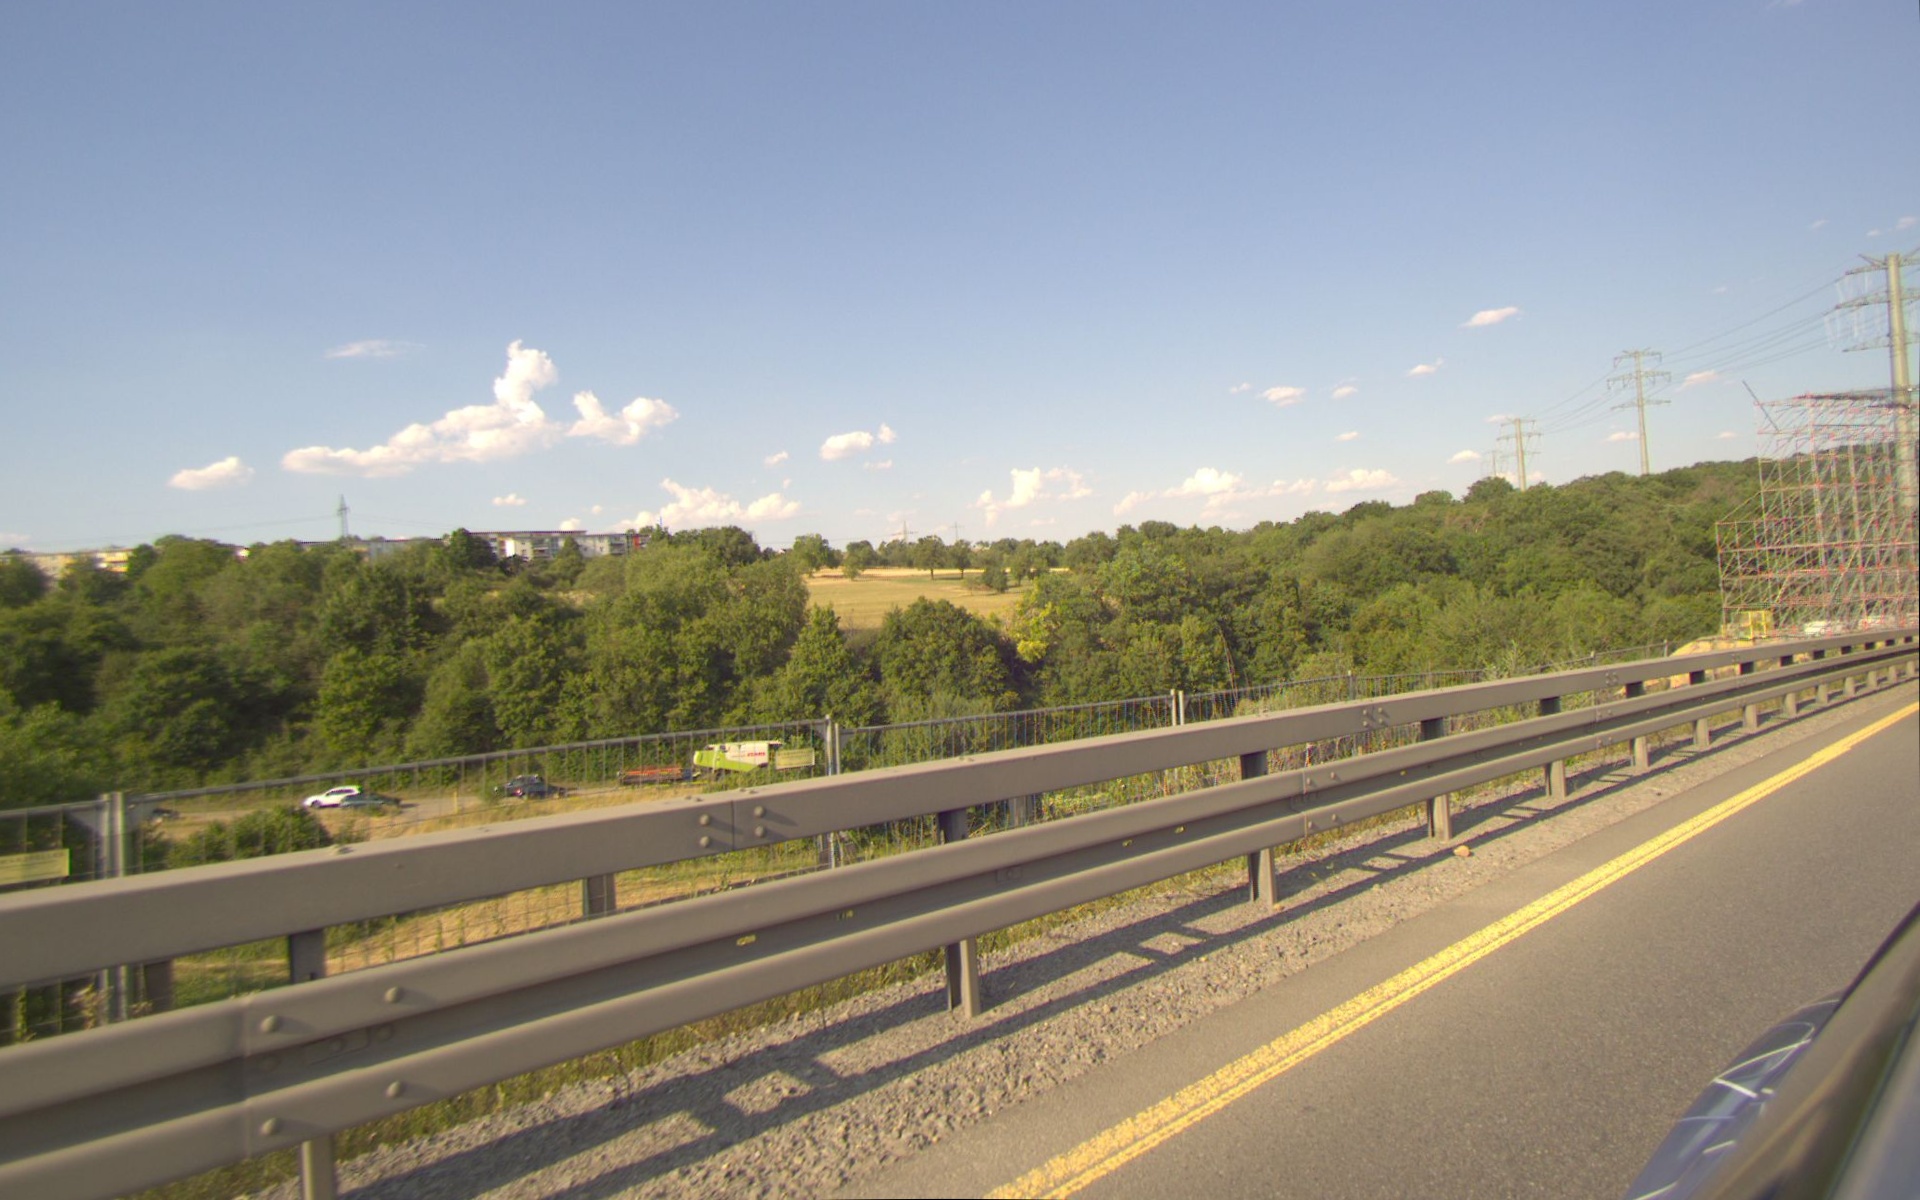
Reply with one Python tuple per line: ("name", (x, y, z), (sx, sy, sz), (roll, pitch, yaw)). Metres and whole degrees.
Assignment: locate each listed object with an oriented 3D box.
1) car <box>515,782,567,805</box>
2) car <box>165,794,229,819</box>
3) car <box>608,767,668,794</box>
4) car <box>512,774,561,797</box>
("car", (-37.124, 17.144, 89.763), (4.020, 1.573, 1.686), (0, 1, -12))
("car", (-65.179, 17.608, 86.534), (4.020, 1.573, 1.686), (0, 1, -14))
("car", (-29.211, 16.375, 91.954), (5.024, 1.858, 1.711), (0, 1, -12))
("car", (-38.847, 17.036, 92.852), (4.019, 1.573, 1.686), (0, 1, -17))
